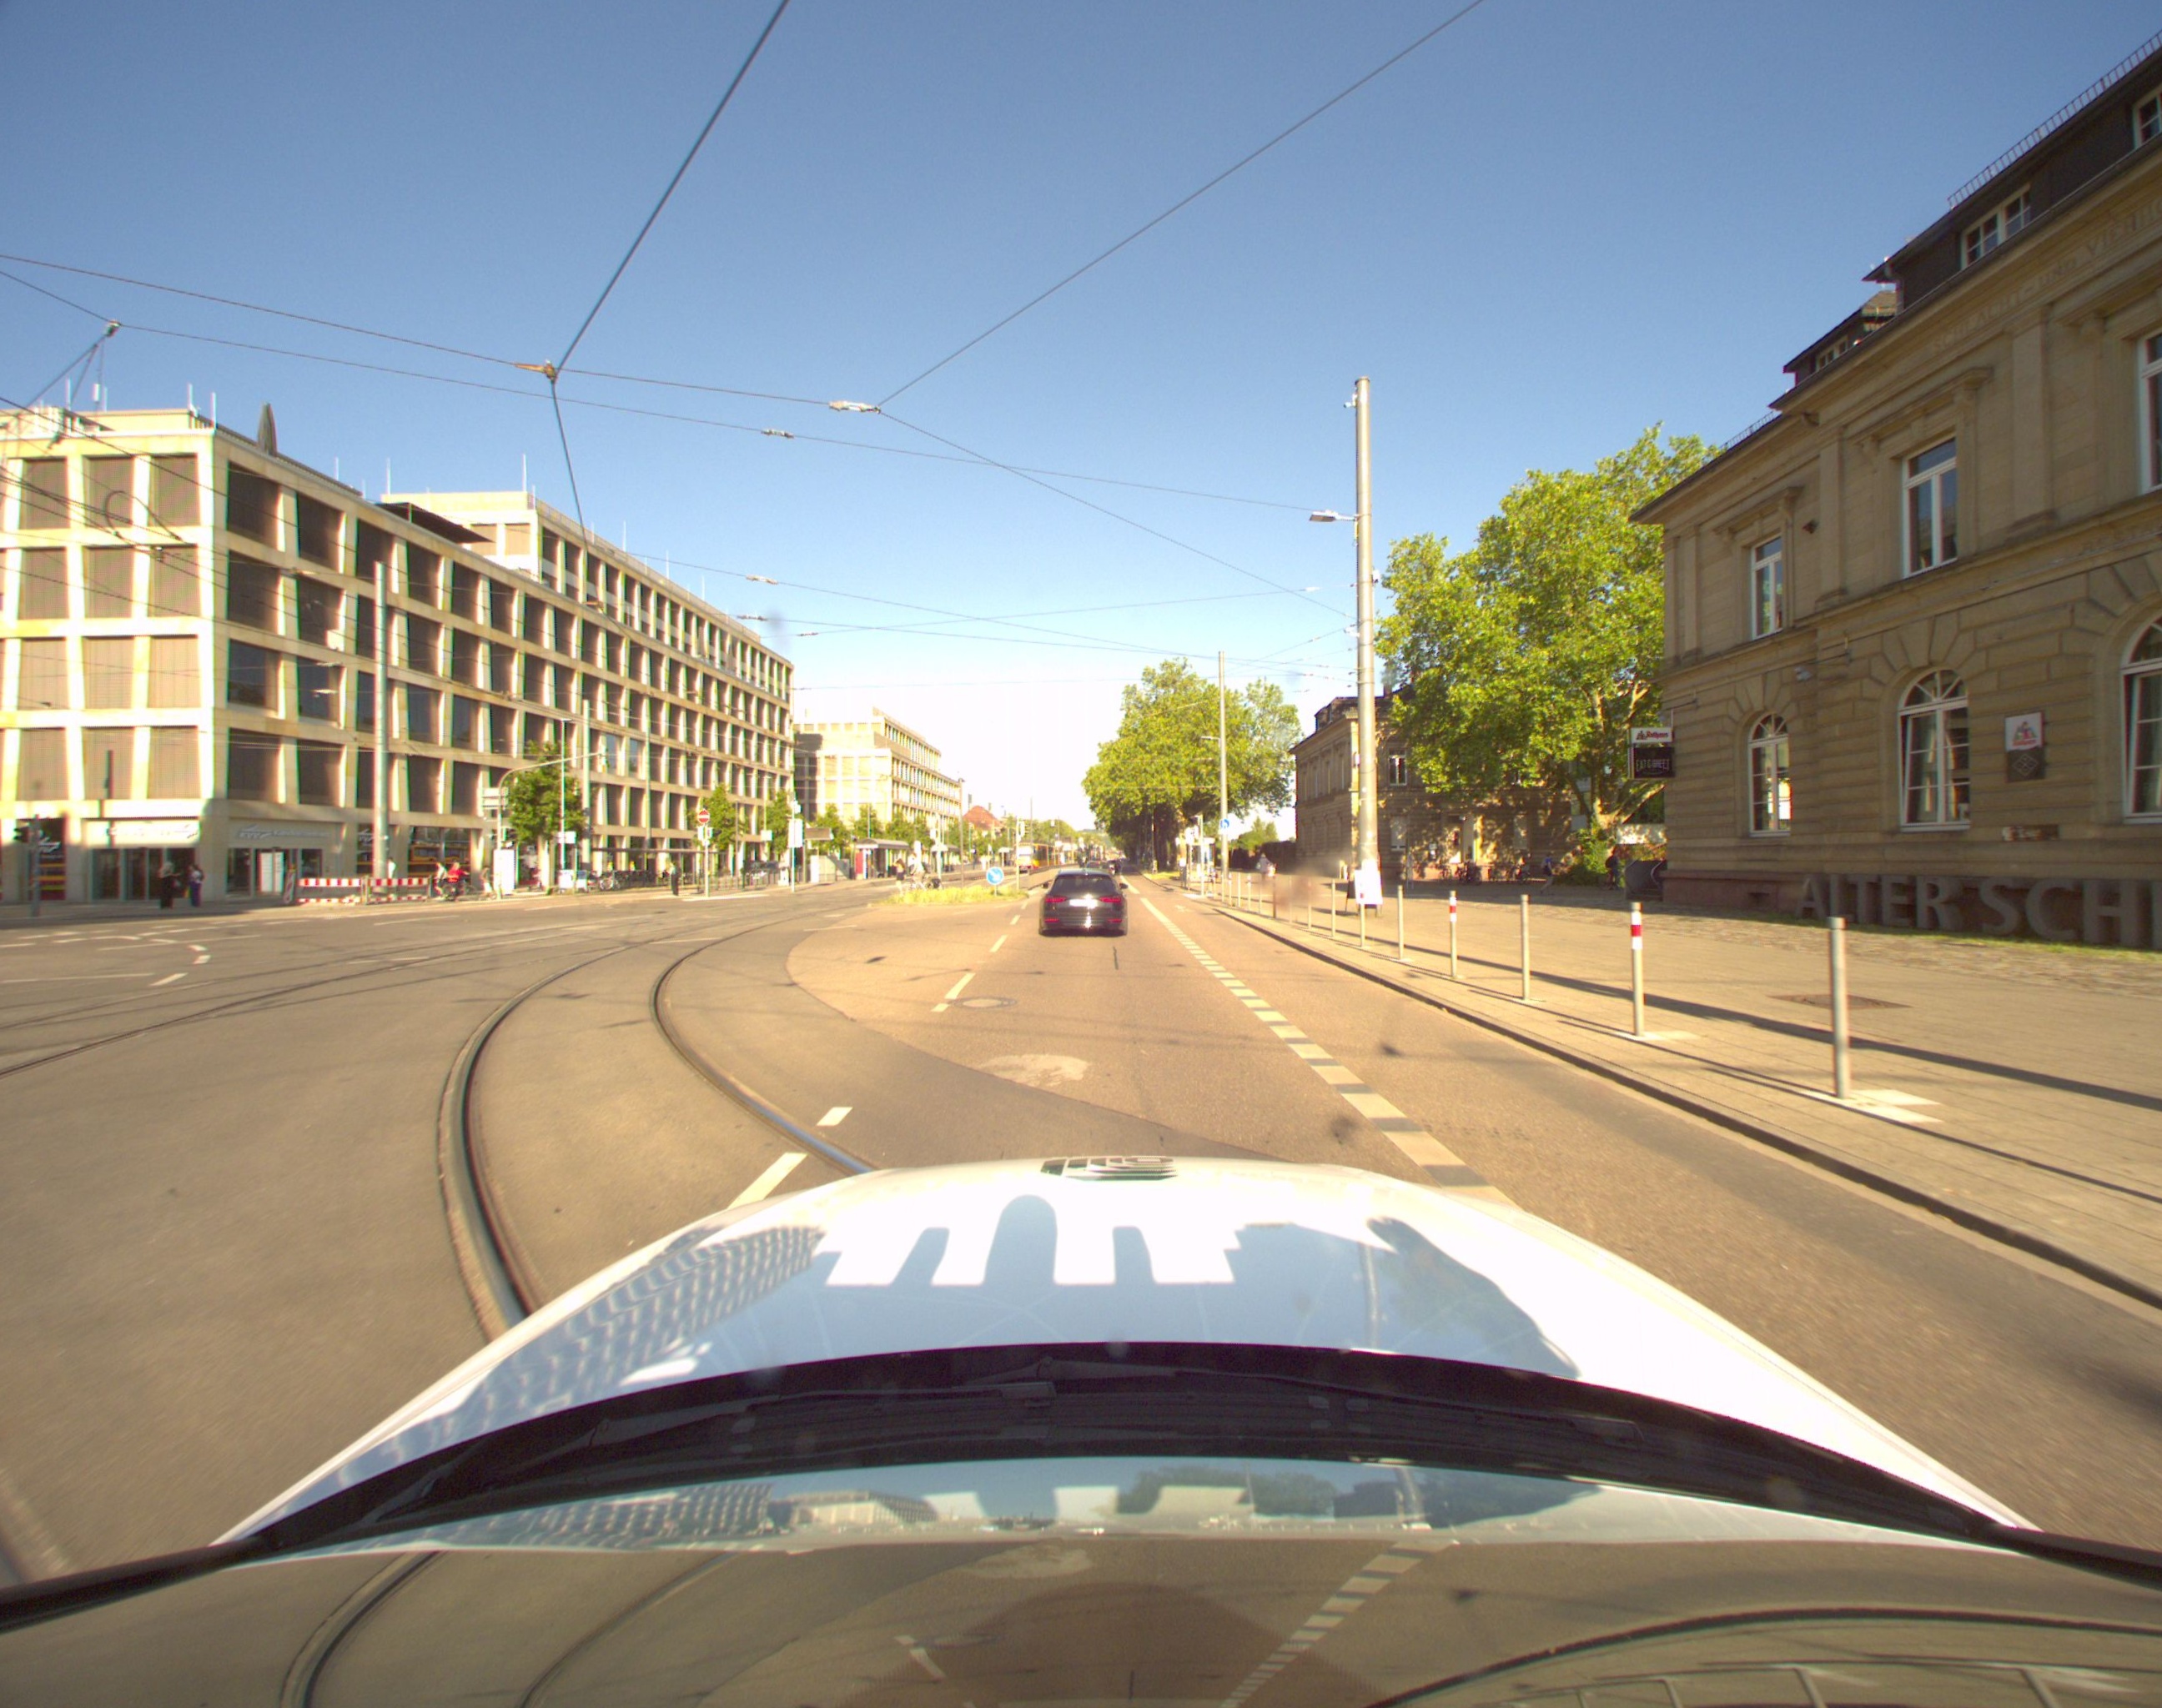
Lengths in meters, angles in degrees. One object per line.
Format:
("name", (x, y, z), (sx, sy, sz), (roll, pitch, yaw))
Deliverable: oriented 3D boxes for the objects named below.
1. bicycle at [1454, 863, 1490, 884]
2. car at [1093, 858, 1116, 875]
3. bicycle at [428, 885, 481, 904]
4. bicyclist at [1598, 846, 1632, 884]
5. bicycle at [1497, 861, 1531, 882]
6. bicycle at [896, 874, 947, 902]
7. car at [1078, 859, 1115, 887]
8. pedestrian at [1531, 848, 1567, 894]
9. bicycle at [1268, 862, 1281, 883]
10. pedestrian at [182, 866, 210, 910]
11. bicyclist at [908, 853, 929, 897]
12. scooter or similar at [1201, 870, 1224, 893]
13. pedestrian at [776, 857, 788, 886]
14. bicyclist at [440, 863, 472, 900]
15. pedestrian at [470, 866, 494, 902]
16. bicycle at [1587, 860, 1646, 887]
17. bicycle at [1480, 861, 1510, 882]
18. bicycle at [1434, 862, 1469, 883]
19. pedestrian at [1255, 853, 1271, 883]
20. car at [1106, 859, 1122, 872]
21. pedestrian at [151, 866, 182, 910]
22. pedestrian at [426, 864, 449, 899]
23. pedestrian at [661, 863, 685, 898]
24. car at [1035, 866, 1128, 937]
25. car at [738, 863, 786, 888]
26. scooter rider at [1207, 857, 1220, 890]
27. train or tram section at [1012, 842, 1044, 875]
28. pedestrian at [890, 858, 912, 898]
("bicycle", (20.071, 0.968, 41.821), (0.525, 1.047, 2.355), (-1, 0, -5))
("car", (2.159, 1.149, 73.208), (1.895, 1.486, 4.147), (0, -1, 3))
("bicycle", (-26.591, 1.701, 34.571), (1.962, 0.775, 0.622), (-1, -1, 10))
("bicyclist", (24.563, 0.496, 37.474), (0.979, 1.712, 0.824), (-1, -1, -10))
("bicycle", (22.546, 0.916, 42.470), (0.524, 1.047, 2.229), (-1, 0, -1))
("bicycle", (-6.664, 1.431, 34.149), (2.001, 1.108, 0.763), (-1, -1, -4))
("car", (0.890, 1.034, 45.095), (1.895, 1.486, 4.147), (0, -1, 3))
("pedestrian", (19.428, 0.713, 33.841), (0.979, 1.865, 0.824), (-1, -1, -11))
("bicycle", (10.783, 1.035, 45.455), (0.433, 1.145, 1.340), (-1, -1, 1))
("pedestrian", (-33.178, 1.270, 30.526), (0.581, 1.636, 0.539), (-1, -1, 24))
("bicyclist", (-6.797, 0.876, 34.134), (0.755, 1.819, 0.763), (-1, -1, -4))
("scooter or similar", (5.757, 1.199, 35.636), (0.935, 0.966, 0.361), (-2, -2, 0))
("pedestrian", (-17.337, 1.013, 47.217), (0.620, 1.664, 0.510), (0, -1, -22))
("bicyclist", (-26.541, 1.153, 34.601), (0.699, 1.525, 0.787), (-1, -1, 11))
("pedestrian", (-26.183, 1.310, 35.600), (0.590, 1.525, 0.585), (-1, -1, 11))
("bicycle", (24.650, 0.890, 37.489), (2.352, 1.204, 0.824), (-1, -1, -11))
("bicycle", (21.479, 0.895, 42.300), (0.523, 1.047, 2.233), (-1, 0, 4))
("bicycle", (19.012, 0.953, 41.883), (0.525, 1.047, 2.355), (-1, 0, -5))
("pedestrian", (10.156, 0.799, 45.456), (0.679, 1.661, 0.758), (-1, -1, 1))
("car", (3.999, 1.429, 98.422), (1.895, 1.486, 4.147), (0, -1, 3))
("pedestrian", (-33.897, 1.251, 30.200), (0.583, 1.636, 0.538), (-1, -1, 11))
("pedestrian", (-28.632, 1.220, 36.245), (0.576, 1.574, 0.598), (-1, -1, 19))
("pedestrian", (-18.241, 1.164, 36.420), (0.753, 1.532, 0.625), (-1, -1, 6))
("car", (0.126, 0.998, 18.575), (1.895, 1.422, 4.147), (0, -1, 3))
("car", (-24.084, 1.595, 61.585), (1.835, 1.812, 4.114), (-1, -1, 2))
("scooter rider", (5.806, 0.850, 35.640), (0.483, 1.386, 0.377), (-2, -2, 0))
("train or tram section", (-5.844, 0.474, 90.873), (2.599, 3.451, 11.134), (-1, 0, 1))
("pedestrian", (-8.032, 1.074, 36.315), (0.736, 1.741, 0.665), (-1, -1, 7))
